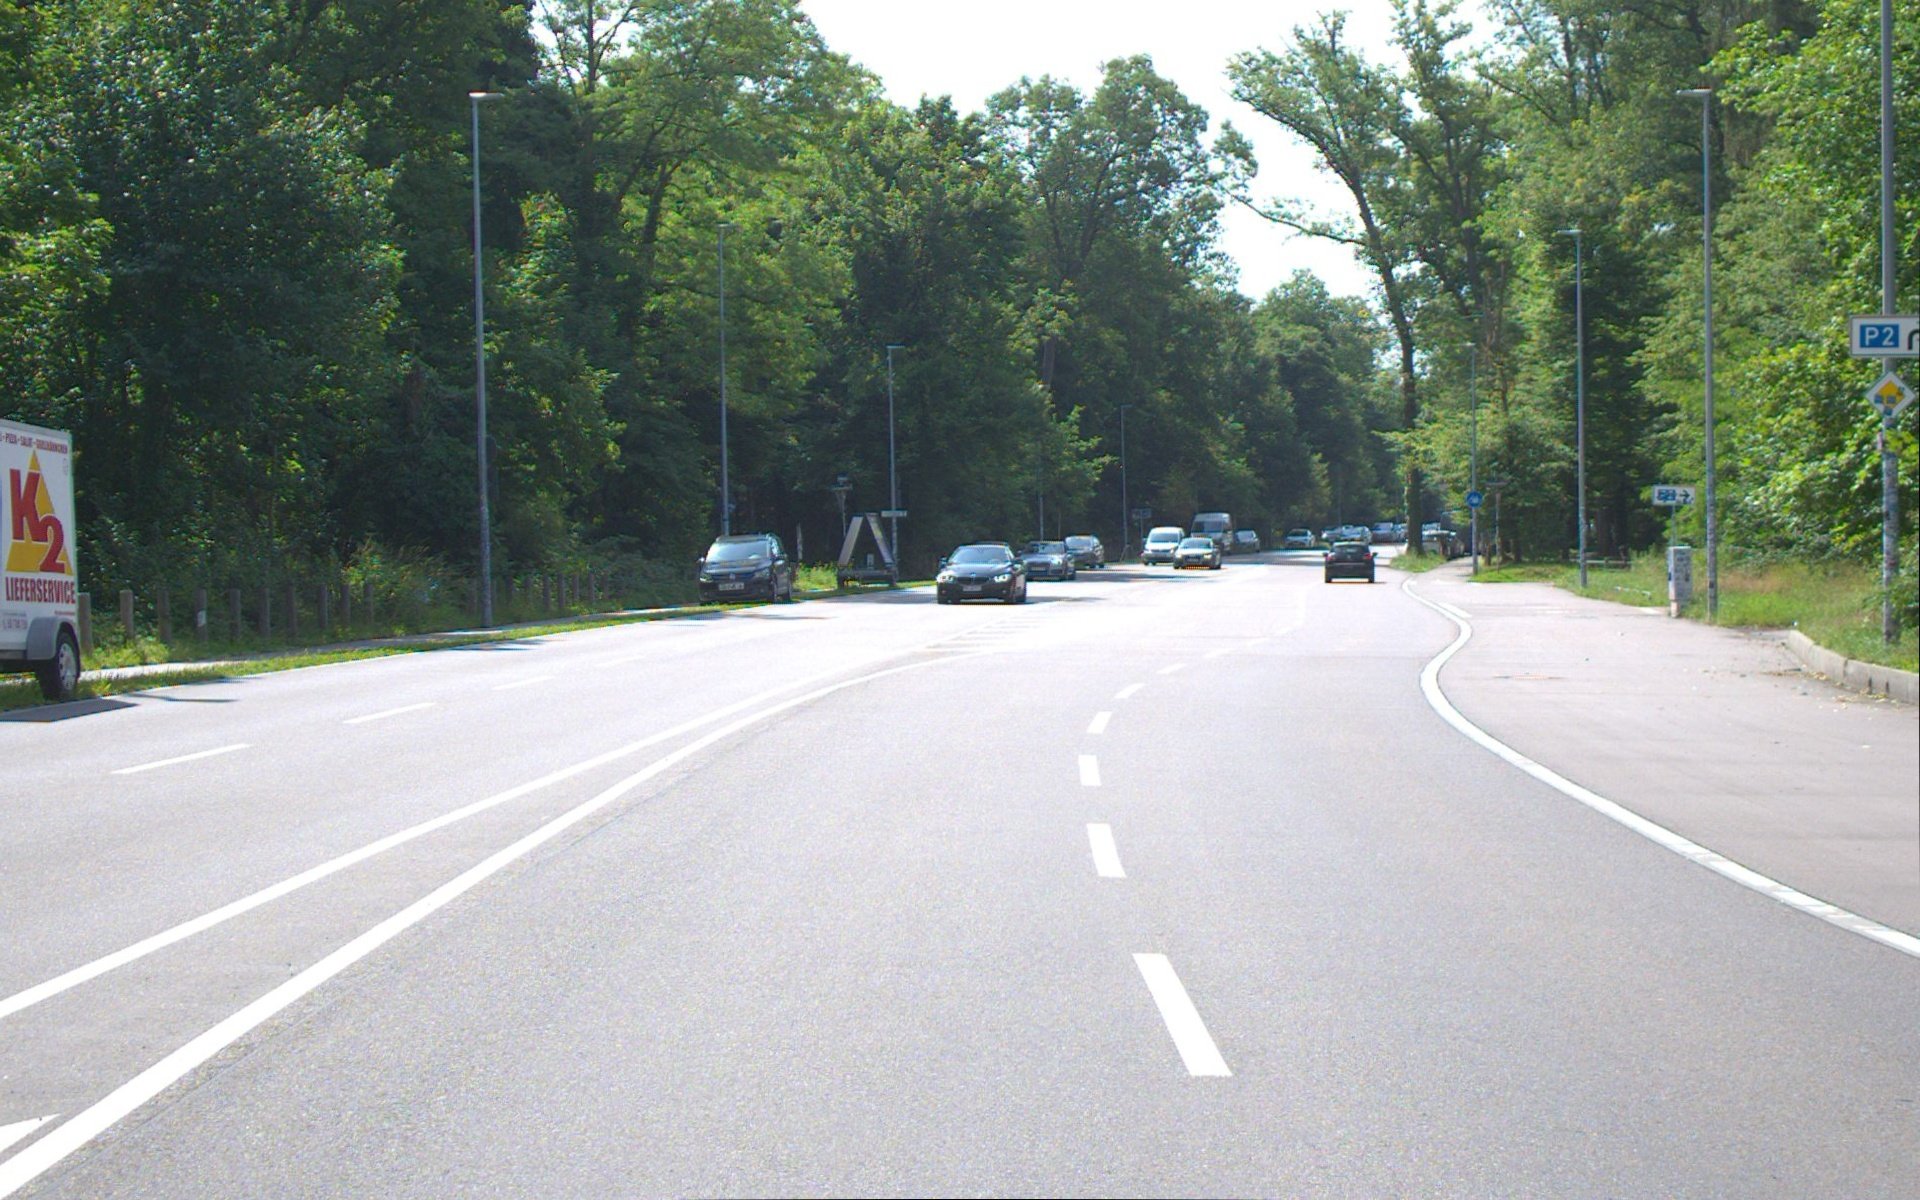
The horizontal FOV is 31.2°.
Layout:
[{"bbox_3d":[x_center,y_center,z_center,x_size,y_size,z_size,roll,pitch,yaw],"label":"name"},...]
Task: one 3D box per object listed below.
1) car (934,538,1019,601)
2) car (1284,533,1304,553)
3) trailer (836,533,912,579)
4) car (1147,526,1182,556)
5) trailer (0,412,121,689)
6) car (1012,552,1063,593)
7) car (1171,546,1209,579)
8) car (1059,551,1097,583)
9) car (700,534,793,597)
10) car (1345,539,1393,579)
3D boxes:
[{"bbox_3d":[0.407,-0.721,80.425,1.504,1.441,3.528,0,1,8],"label":"car"},{"bbox_3d":[23.877,-4.102,245.666,1.304,1.408,3.082,0,1,8],"label":"car"},{"bbox_3d":[-2.542,-1.309,102.280,1.717,1.350,3.731,0,1,7],"label":"trailer"},{"bbox_3d":[9.783,-2.833,164.539,1.504,1.441,3.528,0,1,6],"label":"car"},{"bbox_3d":[-9.167,-0.451,31.116,1.994,2.380,4.000,0,1,3],"label":"trailer"},{"bbox_3d":[2.799,-0.996,123.000,1.504,1.441,3.528,0,1,7],"label":"car"},{"bbox_3d":[10.175,-1.678,151.998,1.504,1.441,3.528,0,1,6],"label":"car"},{"bbox_3d":[5.361,-1.508,155.426,1.504,1.441,3.529,0,1,5],"label":"car"},{"bbox_3d":[-4.931,-0.812,79.726,1.504,1.441,3.528,0,1,7],"label":"car"},{"bbox_3d":[14.385,-1.450,120.684,1.598,1.373,3.975,0,1,8],"label":"car"}]
